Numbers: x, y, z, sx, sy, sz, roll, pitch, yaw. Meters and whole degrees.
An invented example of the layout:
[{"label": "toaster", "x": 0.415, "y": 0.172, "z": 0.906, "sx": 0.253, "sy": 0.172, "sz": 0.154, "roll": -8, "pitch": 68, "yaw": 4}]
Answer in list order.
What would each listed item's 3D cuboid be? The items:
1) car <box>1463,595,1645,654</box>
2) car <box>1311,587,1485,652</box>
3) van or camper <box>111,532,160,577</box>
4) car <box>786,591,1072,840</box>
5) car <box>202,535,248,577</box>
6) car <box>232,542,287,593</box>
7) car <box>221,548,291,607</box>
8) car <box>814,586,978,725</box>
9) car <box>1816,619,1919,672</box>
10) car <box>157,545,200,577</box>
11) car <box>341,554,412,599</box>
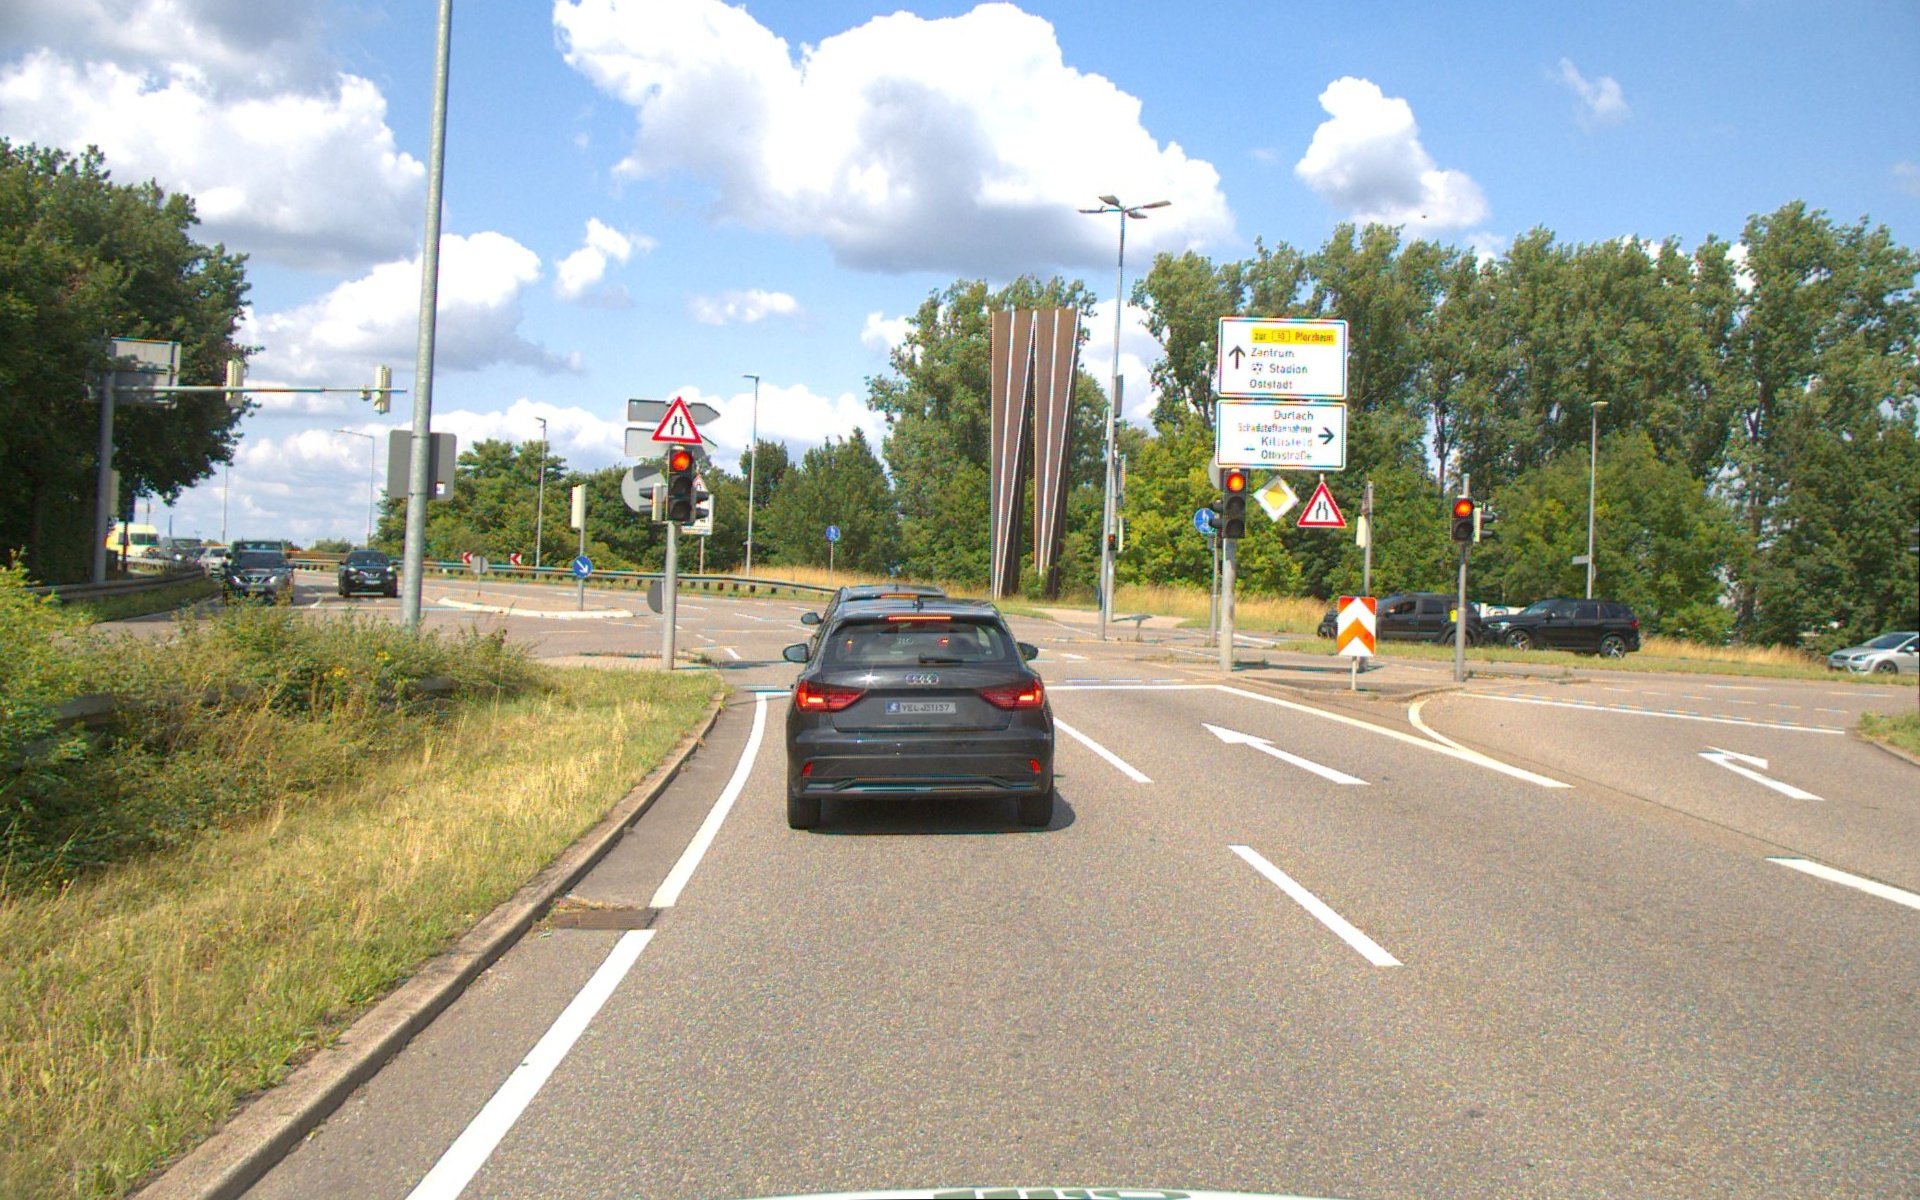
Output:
[{"label": "car", "x": 17.506, "y": 0.706, "z": 48.843, "sx": 4.751, "sy": 1.572, "sz": 1.736, "roll": 2, "pitch": 0, "yaw": -3}, {"label": "car", "x": 11.744, "y": 0.509, "z": 44.526, "sx": 4.183, "sy": 1.572, "sz": 1.736, "roll": 2, "pitch": 0, "yaw": -3}, {"label": "van or camper", "x": -52.386, "y": -2.888, "z": 105.054, "sx": 1.975, "sy": 2.730, "sz": 6.785, "roll": 1, "pitch": 1, "yaw": -33}, {"label": "car", "x": -0.255, "y": 0.672, "z": 11.809, "sx": 1.691, "sy": 1.429, "sz": 3.999, "roll": 0, "pitch": 1, "yaw": -2}, {"label": "car", "x": -37.146, "y": -2.219, "z": 83.511, "sx": 1.822, "sy": 2.013, "sz": 4.287, "roll": 1, "pitch": 0, "yaw": -28}, {"label": "car", "x": -26.593, "y": -1.228, "z": 62.813, "sx": 1.818, "sy": 1.833, "sz": 4.297, "roll": 1, "pitch": 0, "yaw": -23}, {"label": "car", "x": -20.846, "y": -0.635, "z": 49.083, "sx": 1.813, "sy": 1.646, "sz": 3.972, "roll": 1, "pitch": -1, "yaw": -22}, {"label": "car", "x": -0.843, "y": 0.566, "z": 19.542, "sx": 1.693, "sy": 1.448, "sz": 3.840, "roll": 0, "pitch": 1, "yaw": -6}, {"label": "car", "x": 26.326, "y": 1.291, "z": 45.809, "sx": 4.385, "sy": 1.343, "sz": 1.735, "roll": 2, "pitch": 0, "yaw": -6}, {"label": "car", "x": -43.827, "y": -2.183, "z": 92.697, "sx": 1.823, "sy": 1.735, "sz": 4.284, "roll": 1, "pitch": 1, "yaw": -30}, {"label": "car", "x": -20.341, "y": -0.830, "z": 57.572, "sx": 1.923, "sy": 1.443, "sz": 3.938, "roll": 2, "pitch": 0, "yaw": -26}]
